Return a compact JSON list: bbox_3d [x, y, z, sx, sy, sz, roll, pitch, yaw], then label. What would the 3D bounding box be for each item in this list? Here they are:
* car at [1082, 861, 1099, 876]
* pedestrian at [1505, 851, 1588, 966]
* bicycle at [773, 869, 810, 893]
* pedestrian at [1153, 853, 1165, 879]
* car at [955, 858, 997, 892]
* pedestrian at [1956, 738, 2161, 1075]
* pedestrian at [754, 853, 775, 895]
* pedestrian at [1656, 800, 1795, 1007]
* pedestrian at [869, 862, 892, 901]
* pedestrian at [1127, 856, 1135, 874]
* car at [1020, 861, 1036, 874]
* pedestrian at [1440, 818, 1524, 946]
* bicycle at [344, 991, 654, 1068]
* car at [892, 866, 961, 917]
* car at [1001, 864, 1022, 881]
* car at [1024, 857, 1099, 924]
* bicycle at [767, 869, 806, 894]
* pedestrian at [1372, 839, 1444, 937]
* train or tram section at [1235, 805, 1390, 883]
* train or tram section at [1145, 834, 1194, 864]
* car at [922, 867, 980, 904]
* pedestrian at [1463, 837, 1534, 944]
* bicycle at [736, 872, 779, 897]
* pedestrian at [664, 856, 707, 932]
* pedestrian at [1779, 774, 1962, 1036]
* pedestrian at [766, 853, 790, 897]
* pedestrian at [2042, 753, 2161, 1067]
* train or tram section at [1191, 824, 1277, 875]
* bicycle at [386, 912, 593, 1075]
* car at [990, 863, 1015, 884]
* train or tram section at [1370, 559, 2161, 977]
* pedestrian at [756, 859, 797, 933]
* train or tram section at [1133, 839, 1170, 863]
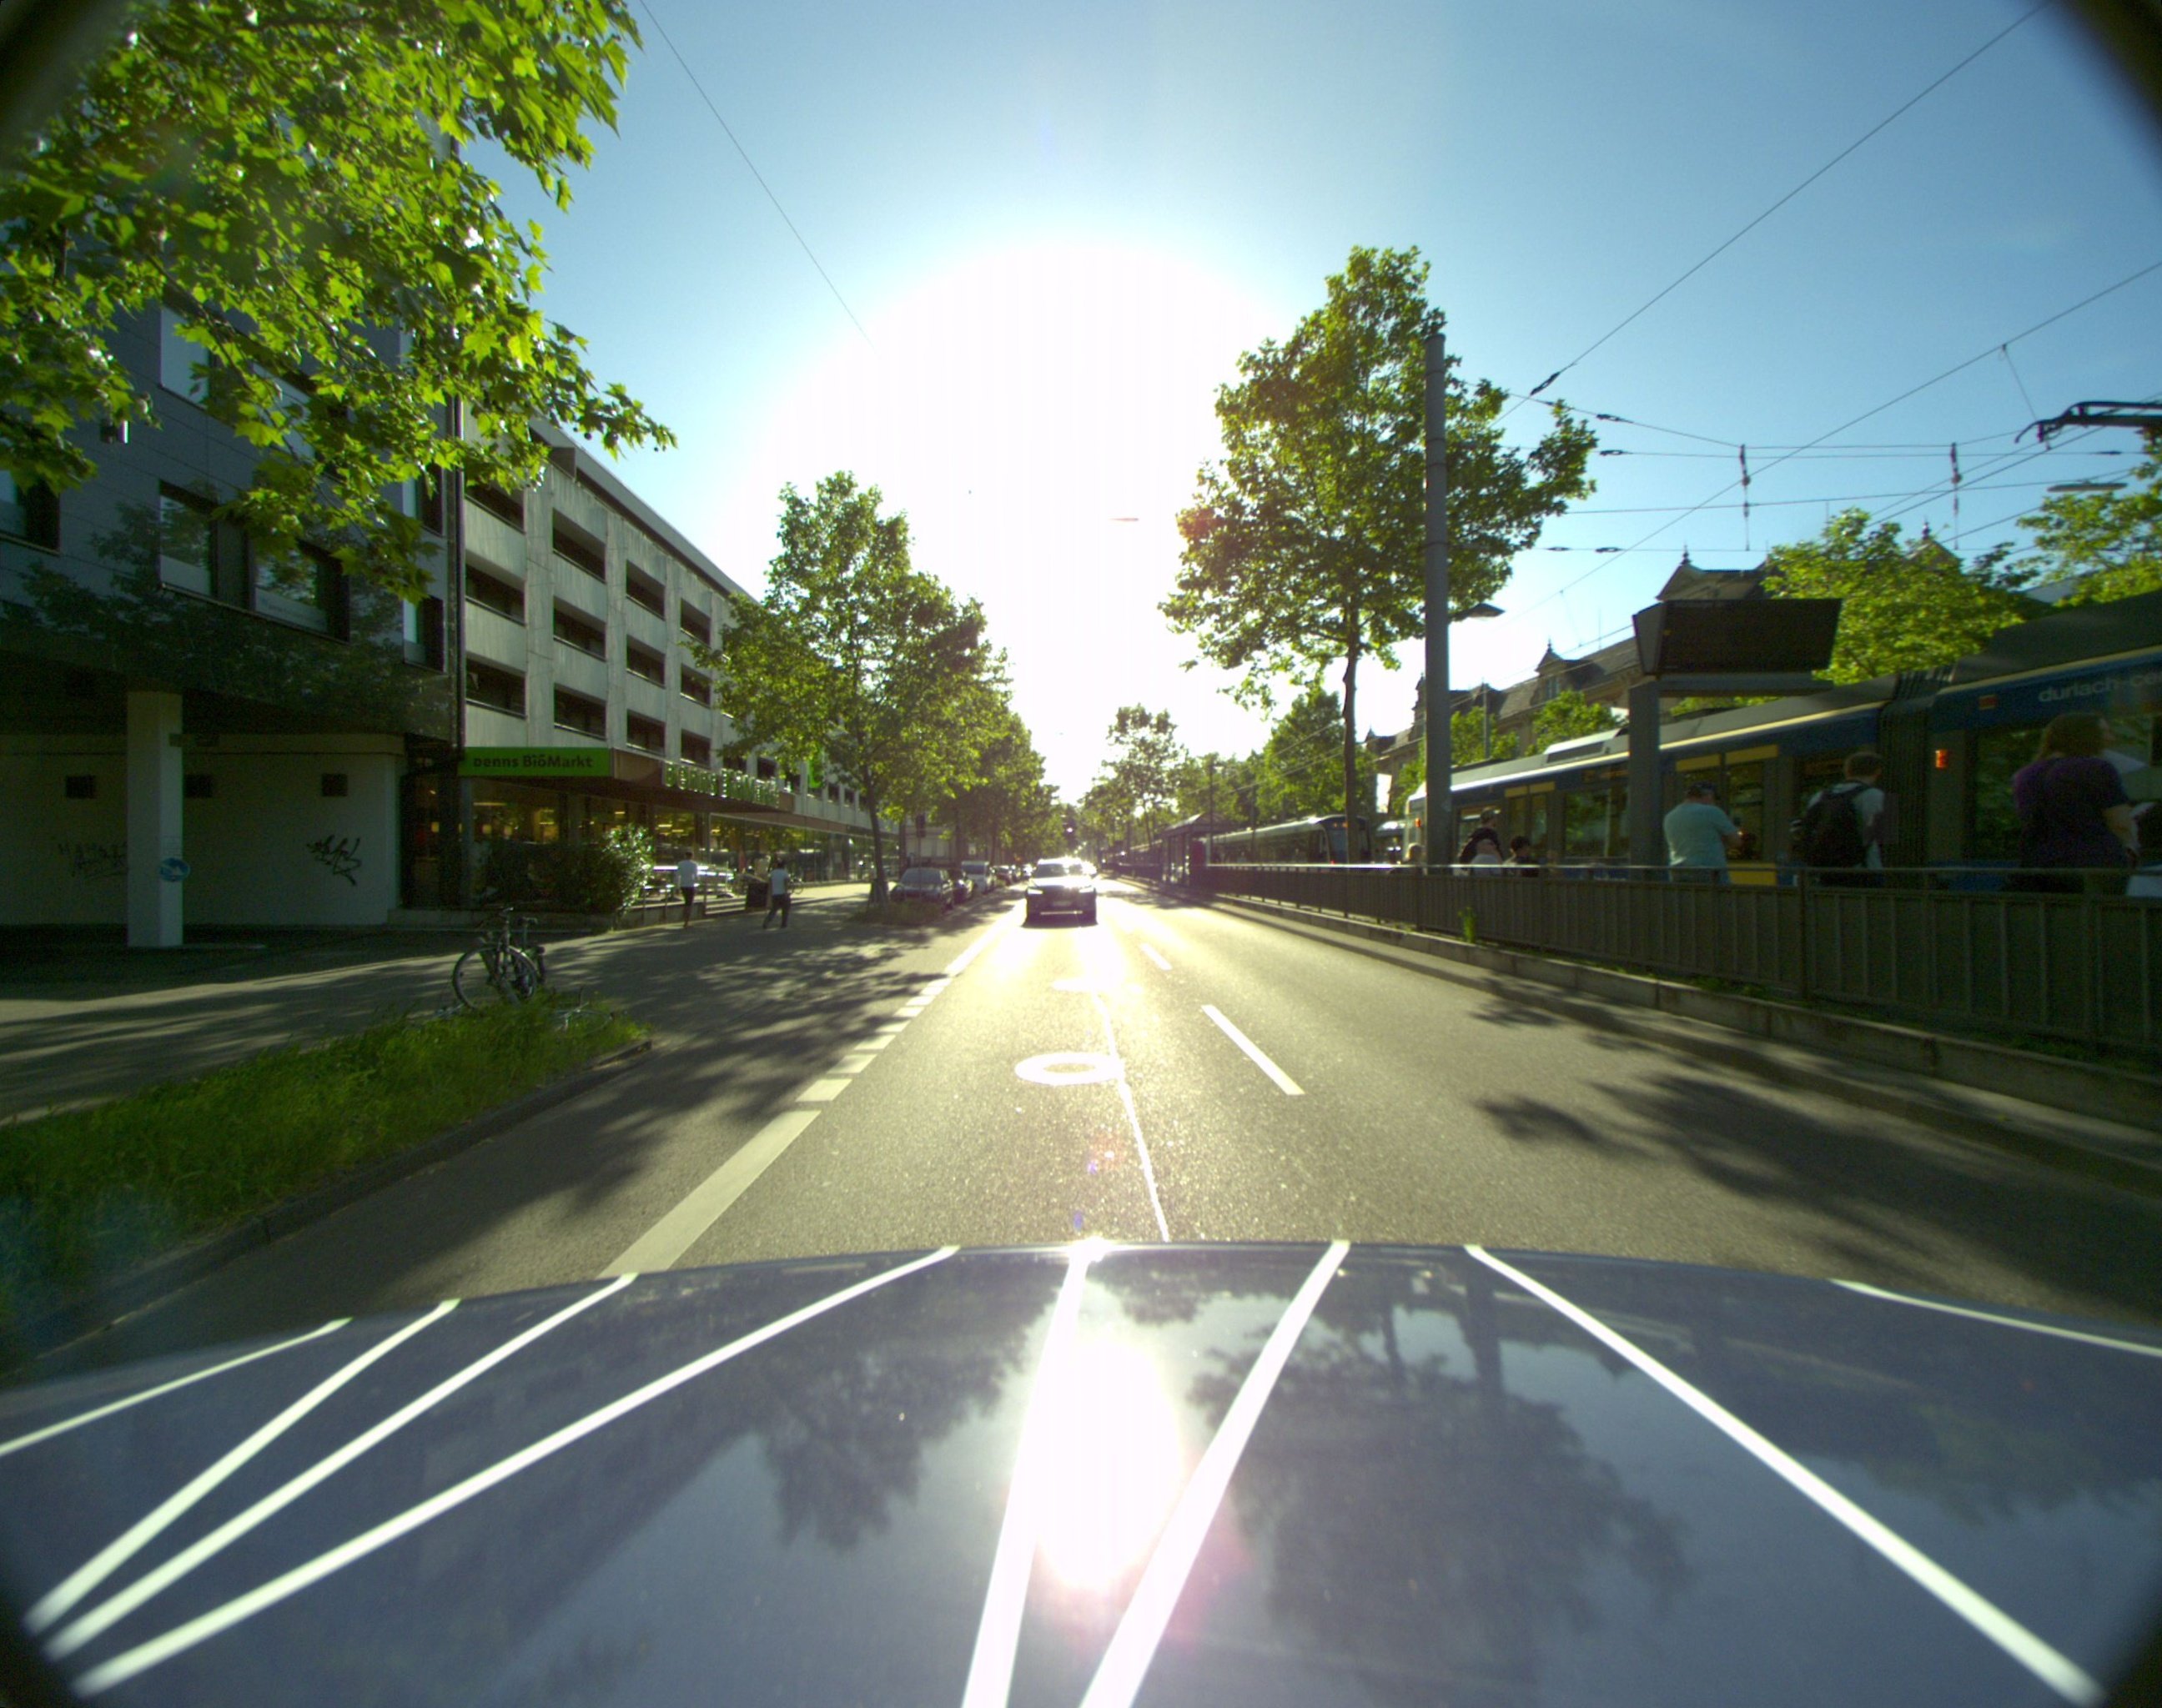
[{"bbox_3d":[0.987,1.514,79.622,1.706,1.407,3.875,-2,0,1],"label":"car"},{"bbox_3d":[5.179,0.587,8.476,0.535,1.239,0.604,0,0,-3],"label":"pedestrian"},{"bbox_3d":[-13.455,1.245,35.298,1.700,1.049,0.587,2,0,26],"label":"bicycle"},{"bbox_3d":[5.323,0.816,51.864,0.683,1.700,0.624,-1,0,-2],"label":"pedestrian"},{"bbox_3d":[-5.804,1.142,42.369,1.769,1.781,4.393,0,-1,-1],"label":"car"},{"bbox_3d":[5.375,0.264,4.093,0.662,1.686,0.571,0,0,0],"label":"pedestrian"},{"bbox_3d":[-13.265,0.834,31.807,0.614,1.705,0.611,6,-1,-26],"label":"pedestrian"},{"bbox_3d":[5.273,0.391,6.247,0.662,1.624,0.571,0,0,0],"label":"pedestrian"},{"bbox_3d":[-8.550,1.166,32.432,0.699,1.603,0.868,2,0,1],"label":"pedestrian"},{"bbox_3d":[4.567,0.962,69.411,0.701,1.626,0.761,-1,0,-1],"label":"pedestrian"},{"bbox_3d":[-6.957,1.740,99.384,1.839,1.555,4.273,-1,0,-1],"label":"car"},{"bbox_3d":[5.633,0.381,10.719,0.777,1.742,0.723,0,0,-5],"label":"pedestrian"},{"bbox_3d":[-4.899,1.488,6.584,1.613,0.351,1.389,0,0,-1],"label":"bicycle"},{"bbox_3d":[-5.183,1.205,26.008,1.569,1.541,4.000,-1,0,-1],"label":"car"},{"bbox_3d":[-6.193,1.622,68.288,1.630,1.433,3.930,1,0,-1],"label":"car"},{"bbox_3d":[-0.551,0.960,21.934,1.914,1.695,4.273,-1,0,-1],"label":"car"},{"bbox_3d":[-13.297,1.248,34.308,1.700,1.049,0.587,1,-1,26],"label":"bicycle"},{"bbox_3d":[5.189,0.530,12.093,0.777,1.501,0.751,0,0,-5],"label":"pedestrian"},{"bbox_3d":[12.162,-0.366,42.990,2.856,3.414,18.213,-2,0,-1],"label":"train or tram section"},{"bbox_3d":[8.224,-0.379,72.614,2.569,2.549,15.673,-1,0,-1],"label":"train or tram section"},{"bbox_3d":[-5.501,1.291,32.668,1.766,1.409,4.699,-1,0,-2],"label":"car"},{"bbox_3d":[5.211,0.443,9.508,0.535,1.291,0.604,0,0,-5],"label":"pedestrian"},{"bbox_3d":[-12.927,1.219,30.324,1.647,0.910,0.587,1,-3,26],"label":"bicycle"},{"bbox_3d":[-9.261,0.915,17.794,0.561,1.734,0.878,0,0,-2],"label":"pedestrian"},{"bbox_3d":[5.351,0.332,5.183,0.662,1.686,0.571,0,0,0],"label":"pedestrian"},{"bbox_3d":[-11.880,0.805,29.781,0.559,1.668,0.882,2,0,-2],"label":"pedestrian"},{"bbox_3d":[6.101,0.304,4.309,0.516,1.698,0.621,0,0,-2],"label":"pedestrian"},{"bbox_3d":[11.826,-0.240,61.245,2.878,3.414,18.274,-2,0,-1],"label":"train or tram section"},{"bbox_3d":[-5.229,1.158,6.895,0.791,1.126,1.844,0,0,-14],"label":"bicycle"},{"bbox_3d":[-5.936,1.467,57.784,1.677,1.430,3.689,2,0,-2],"label":"car"},{"bbox_3d":[9.688,-0.794,13.118,2.922,3.241,15.889,-2,1,-1],"label":"train or tram section"},{"bbox_3d":[-7.195,0.975,18.005,0.561,1.694,1.052,0,0,-2],"label":"pedestrian"},{"bbox_3d":[7.949,-0.285,87.987,2.569,2.516,15.071,-1,0,-1],"label":"train or tram section"}]
